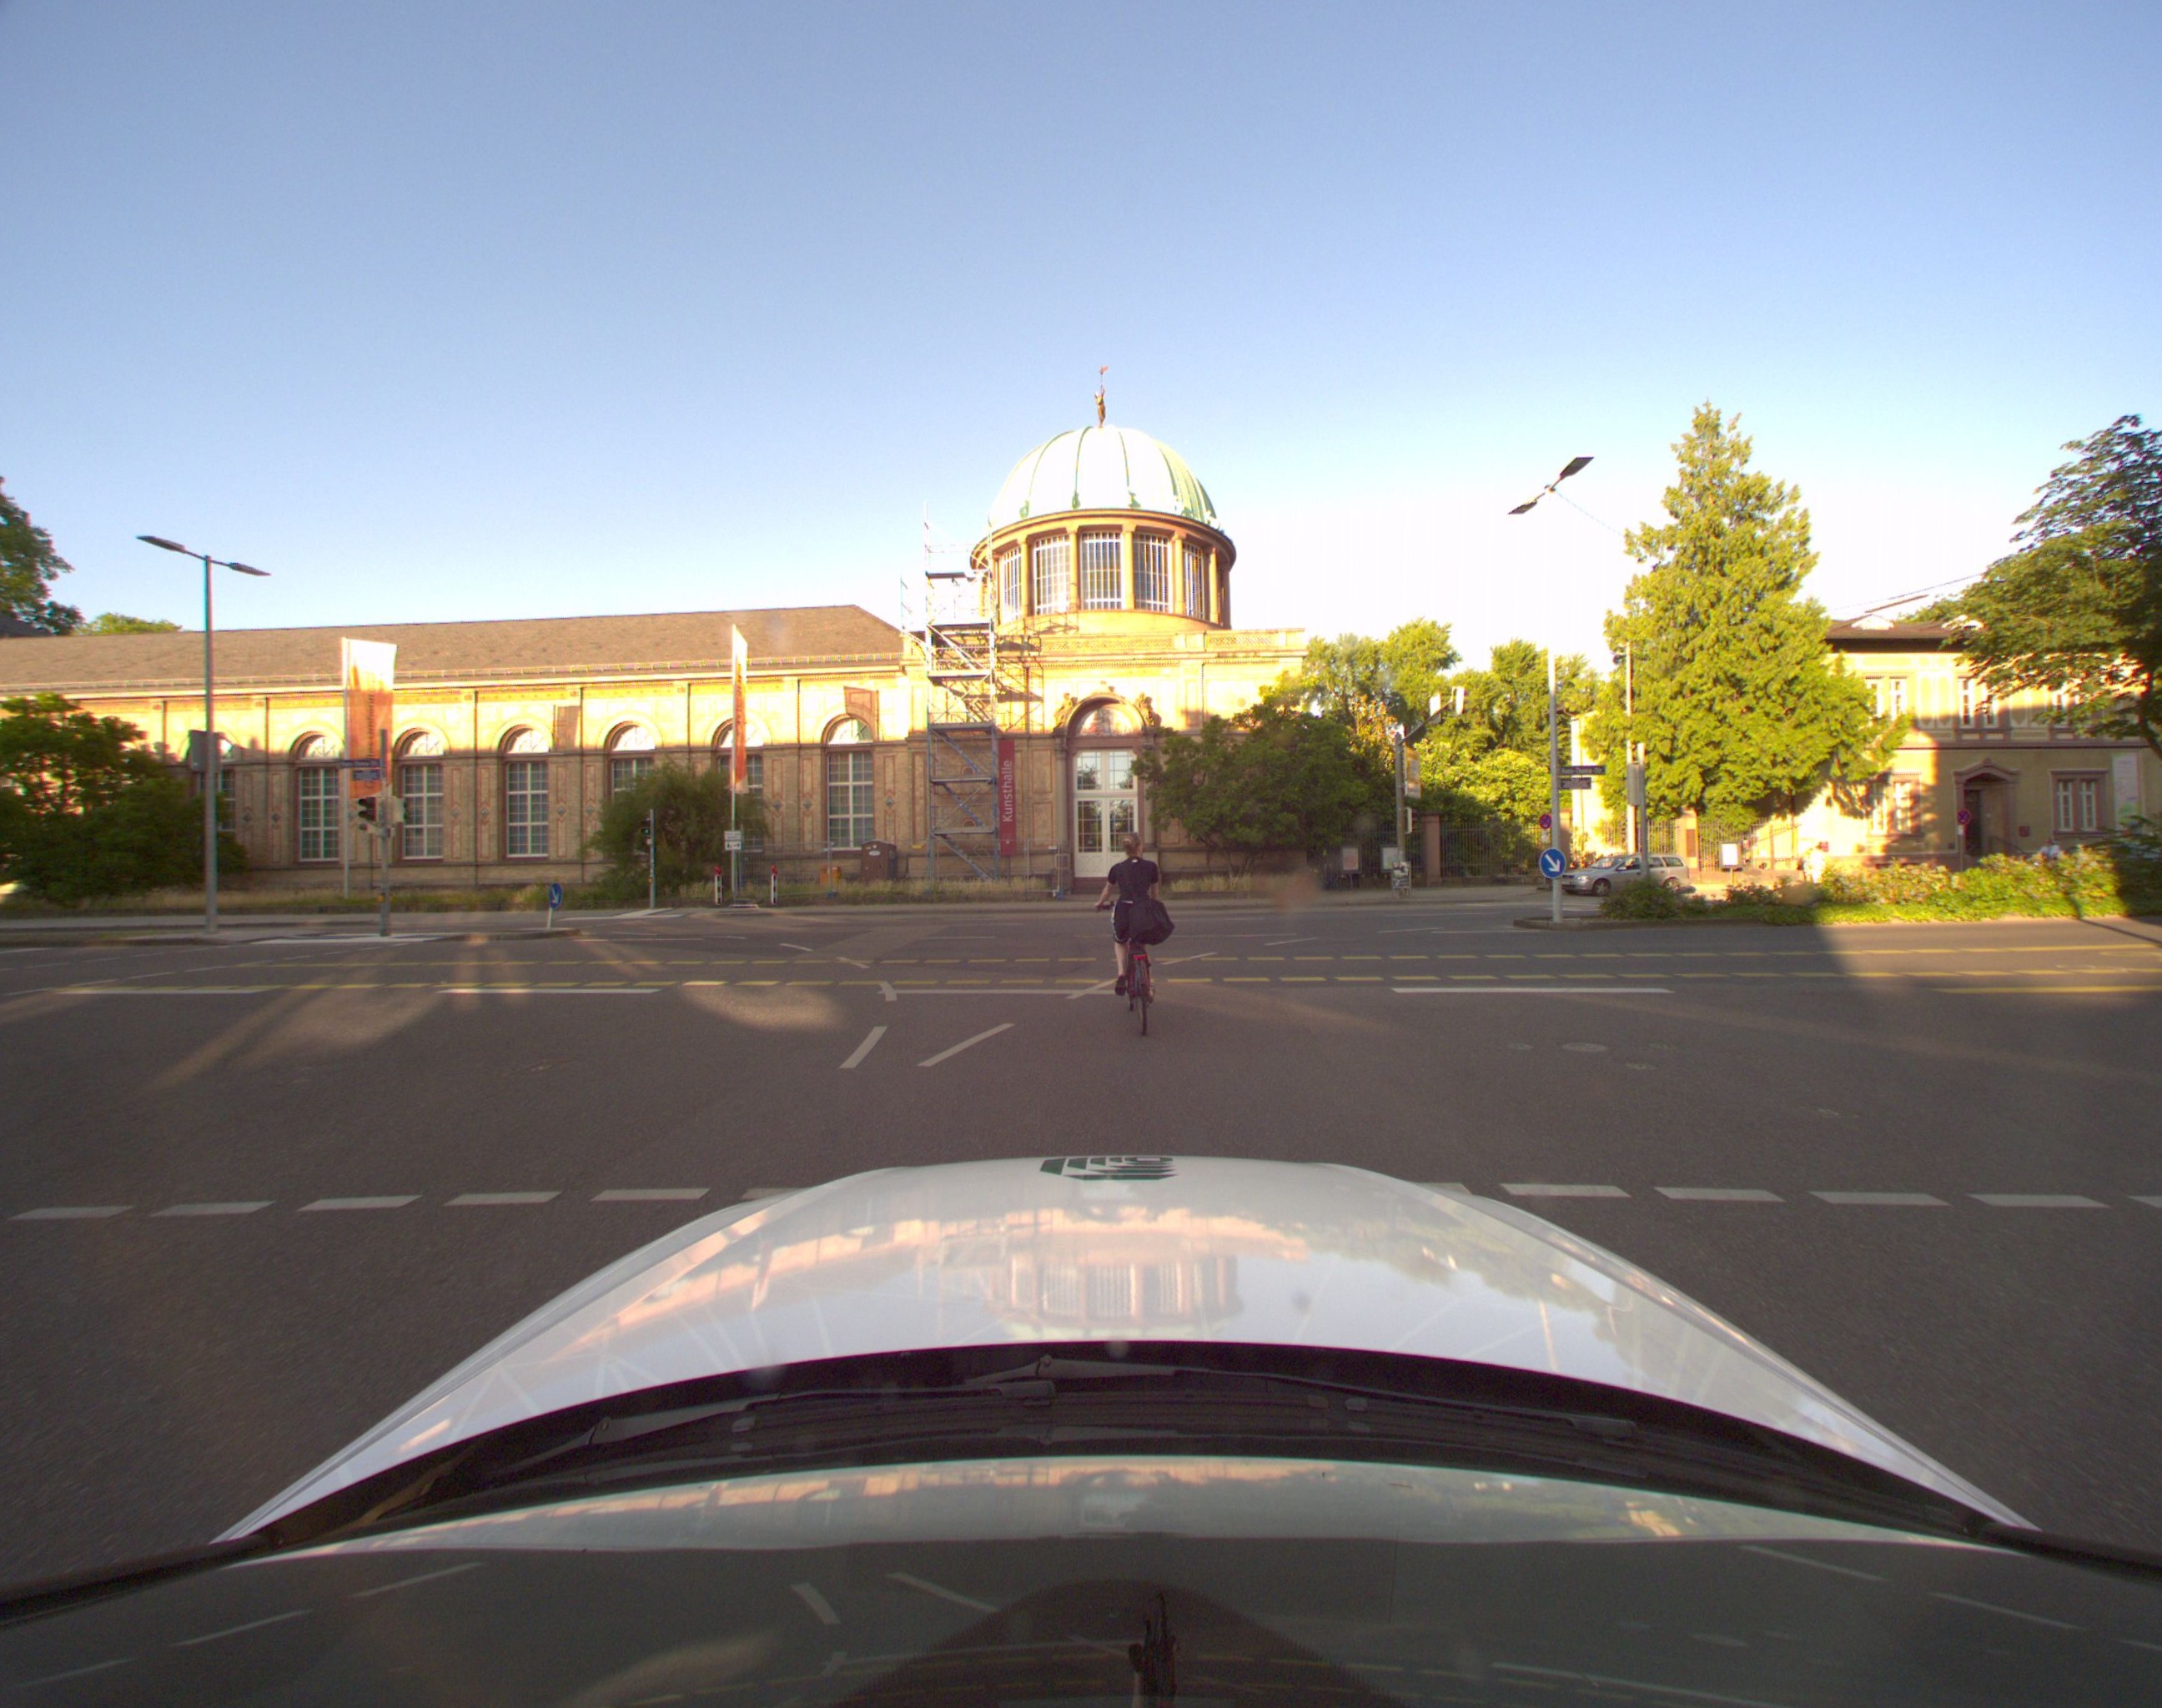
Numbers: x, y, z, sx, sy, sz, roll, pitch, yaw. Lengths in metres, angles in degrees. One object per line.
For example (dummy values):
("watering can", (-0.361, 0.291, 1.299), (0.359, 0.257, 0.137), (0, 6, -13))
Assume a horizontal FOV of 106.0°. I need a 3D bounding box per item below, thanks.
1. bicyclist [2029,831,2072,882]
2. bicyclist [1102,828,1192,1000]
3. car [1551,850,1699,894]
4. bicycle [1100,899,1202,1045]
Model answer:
("bicyclist", (32.256, 0.089, 27.098), (0.516, 1.644, 0.667), (-2, -3, 3))
("bicyclist", (0.593, 0.544, 7.635), (0.714, 1.503, 0.850), (-1, -2, -3))
("car", (19.214, 0.617, 28.849), (4.176, 1.445, 1.713), (-1, -1, -4))
("bicycle", (0.604, 1.037, 7.817), (0.710, 1.156, 2.066), (-1, -2, -2))
